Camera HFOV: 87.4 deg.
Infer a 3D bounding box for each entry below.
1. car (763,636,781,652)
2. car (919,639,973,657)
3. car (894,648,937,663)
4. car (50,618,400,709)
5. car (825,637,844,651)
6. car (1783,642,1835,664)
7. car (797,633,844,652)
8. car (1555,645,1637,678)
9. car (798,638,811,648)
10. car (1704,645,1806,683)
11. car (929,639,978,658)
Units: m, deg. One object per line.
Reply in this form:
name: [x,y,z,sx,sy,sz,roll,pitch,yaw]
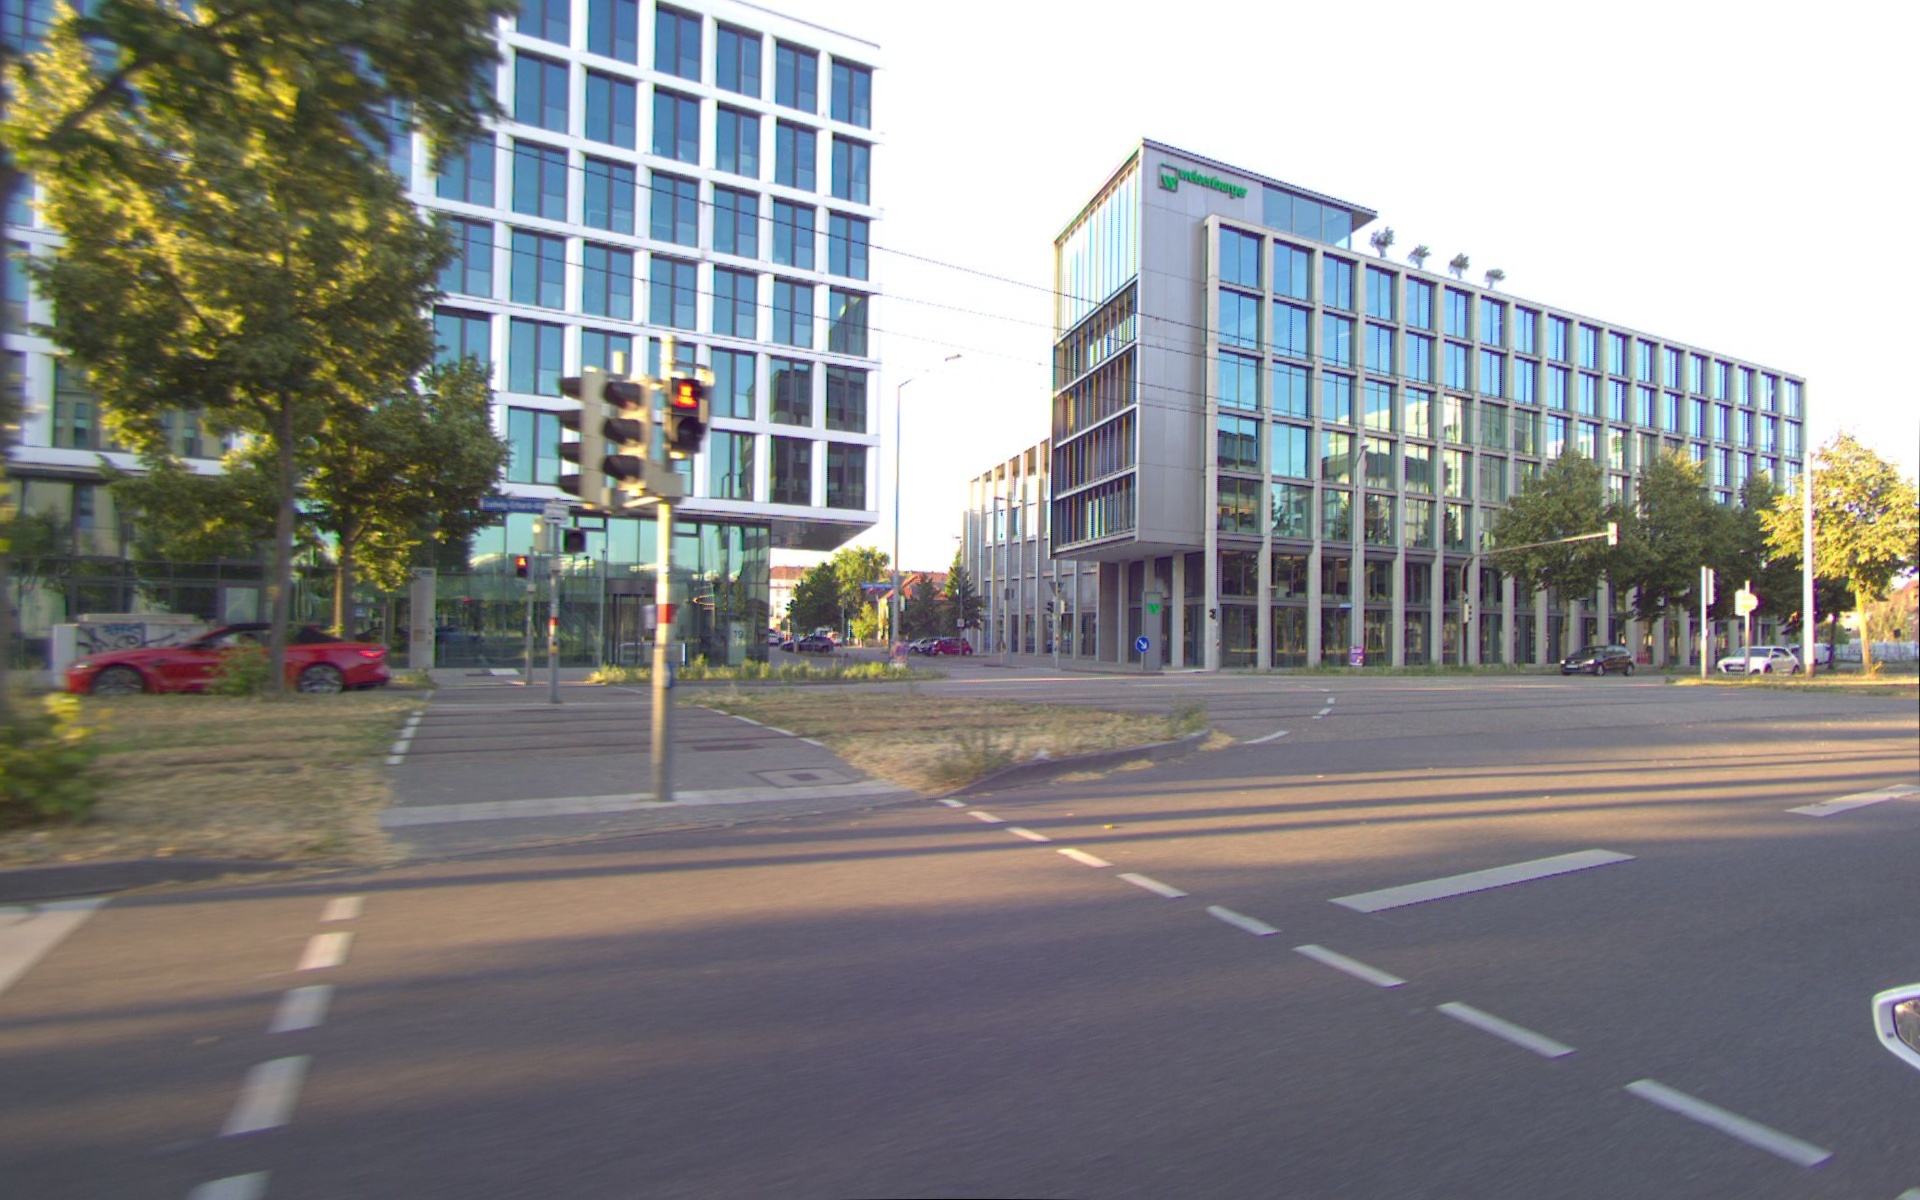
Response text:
car: [-22.332,5.242,119.408,1.778,1.817,3.797,1,-2,-15]
car: [-1.207,4.233,88.701,4.464,1.576,1.696,1,-2,-20]
car: [-4.376,5.417,98.251,3.937,1.404,1.420,1,-2,-19]
car: [-12.944,1.101,18.185,4.839,1.453,1.985,2,-2,-29]
car: [-16.294,5.688,130.357,1.966,1.746,3.990,1,-2,-13]
car: [83.268,5.232,98.556,5.020,2.040,2.198,2,-2,-28]
car: [-13.004,3.920,93.518,3.944,1.686,1.989,1,-2,-23]
car: [29.784,2.871,47.017,3.953,1.468,1.633,2,-2,-30]
car: [-25.754,7.046,166.242,1.966,1.617,3.991,1,-2,-13]
car: [34.101,2.725,43.051,4.577,1.505,1.894,2,-2,-30]
car: [-0.574,4.151,86.640,3.935,1.576,1.698,1,-2,-17]
